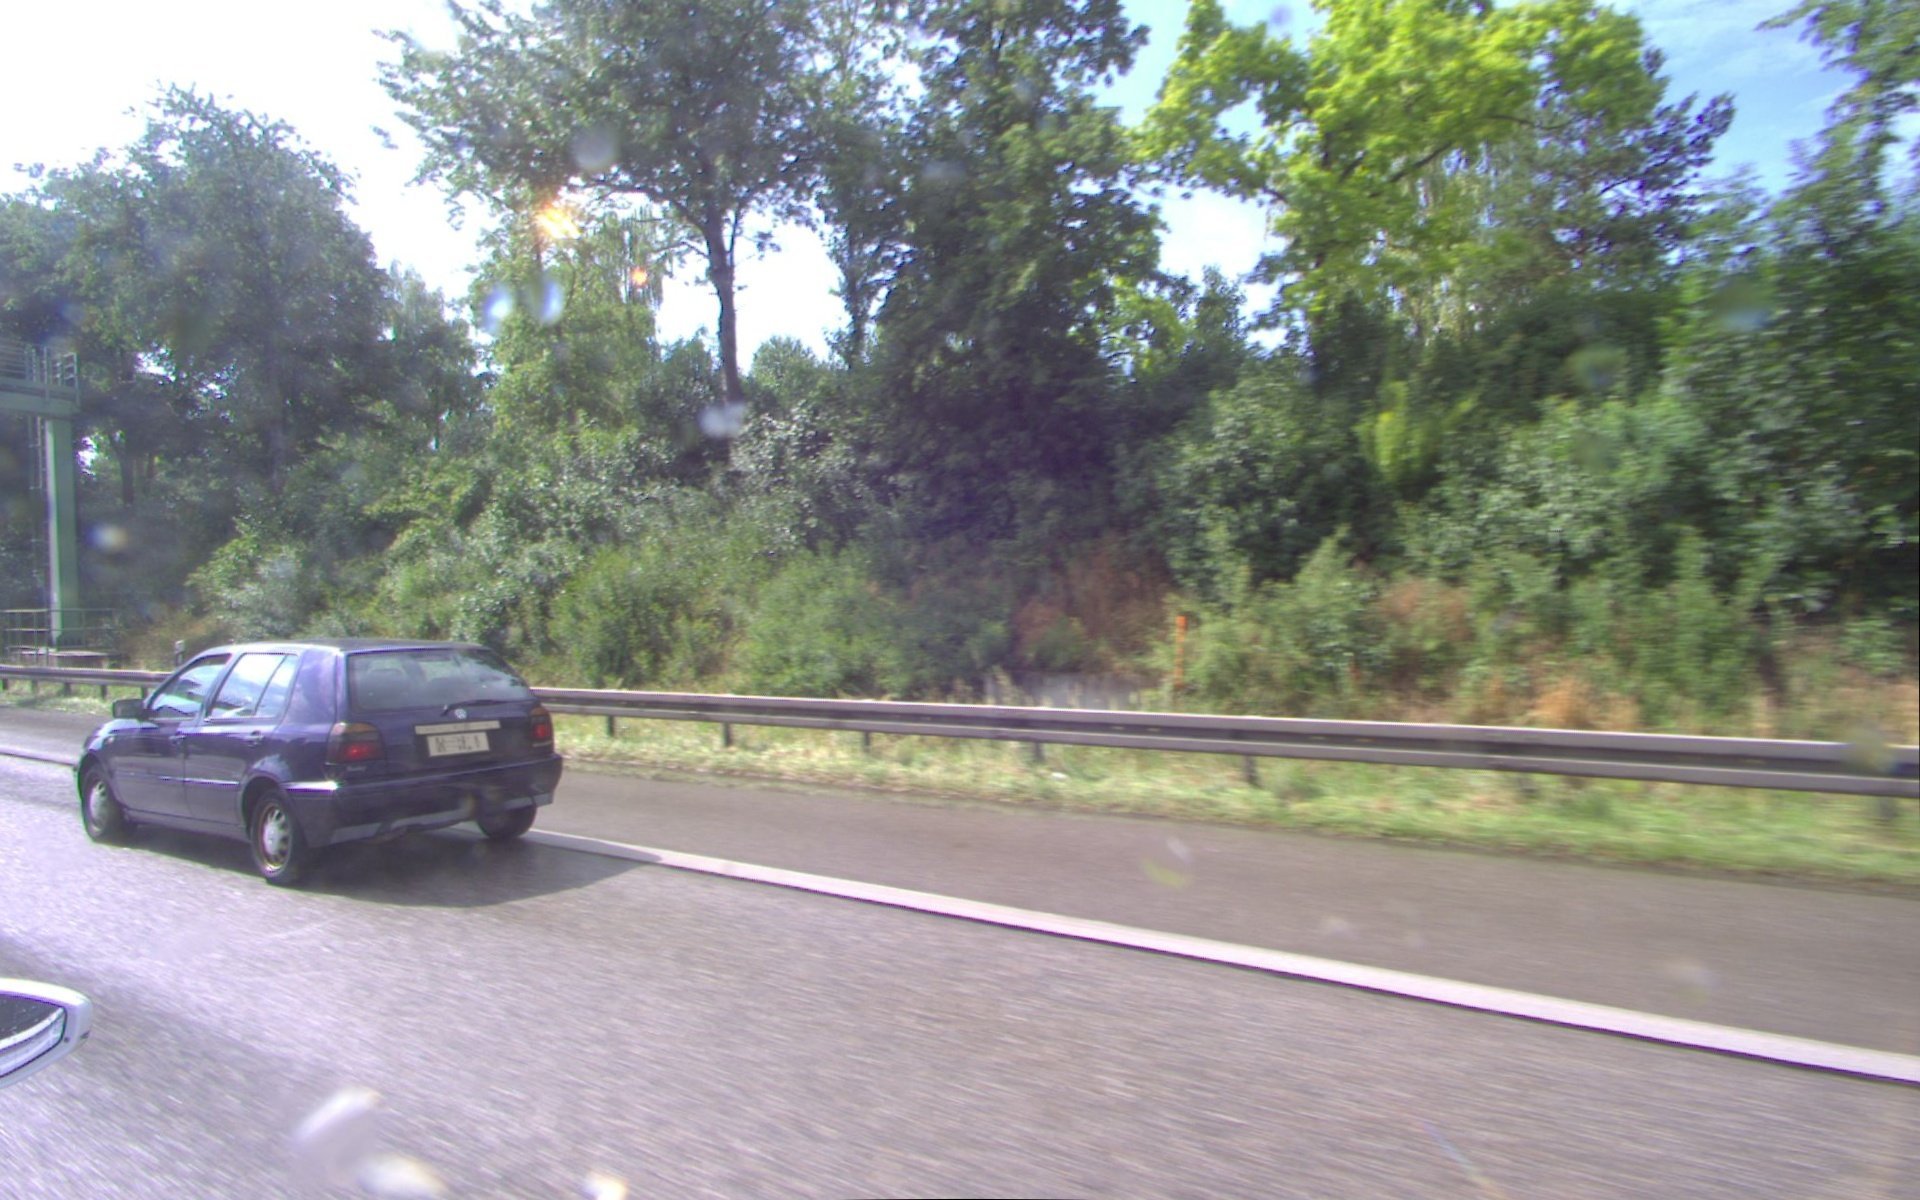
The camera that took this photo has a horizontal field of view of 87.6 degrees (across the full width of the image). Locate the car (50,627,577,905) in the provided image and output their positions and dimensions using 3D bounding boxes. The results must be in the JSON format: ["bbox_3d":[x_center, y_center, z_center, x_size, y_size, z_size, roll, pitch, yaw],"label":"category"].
[{"bbox_3d":[-4.586,0.935,7.010,3.689,1.475,1.648,-1,-1,31],"label":"car"}]
